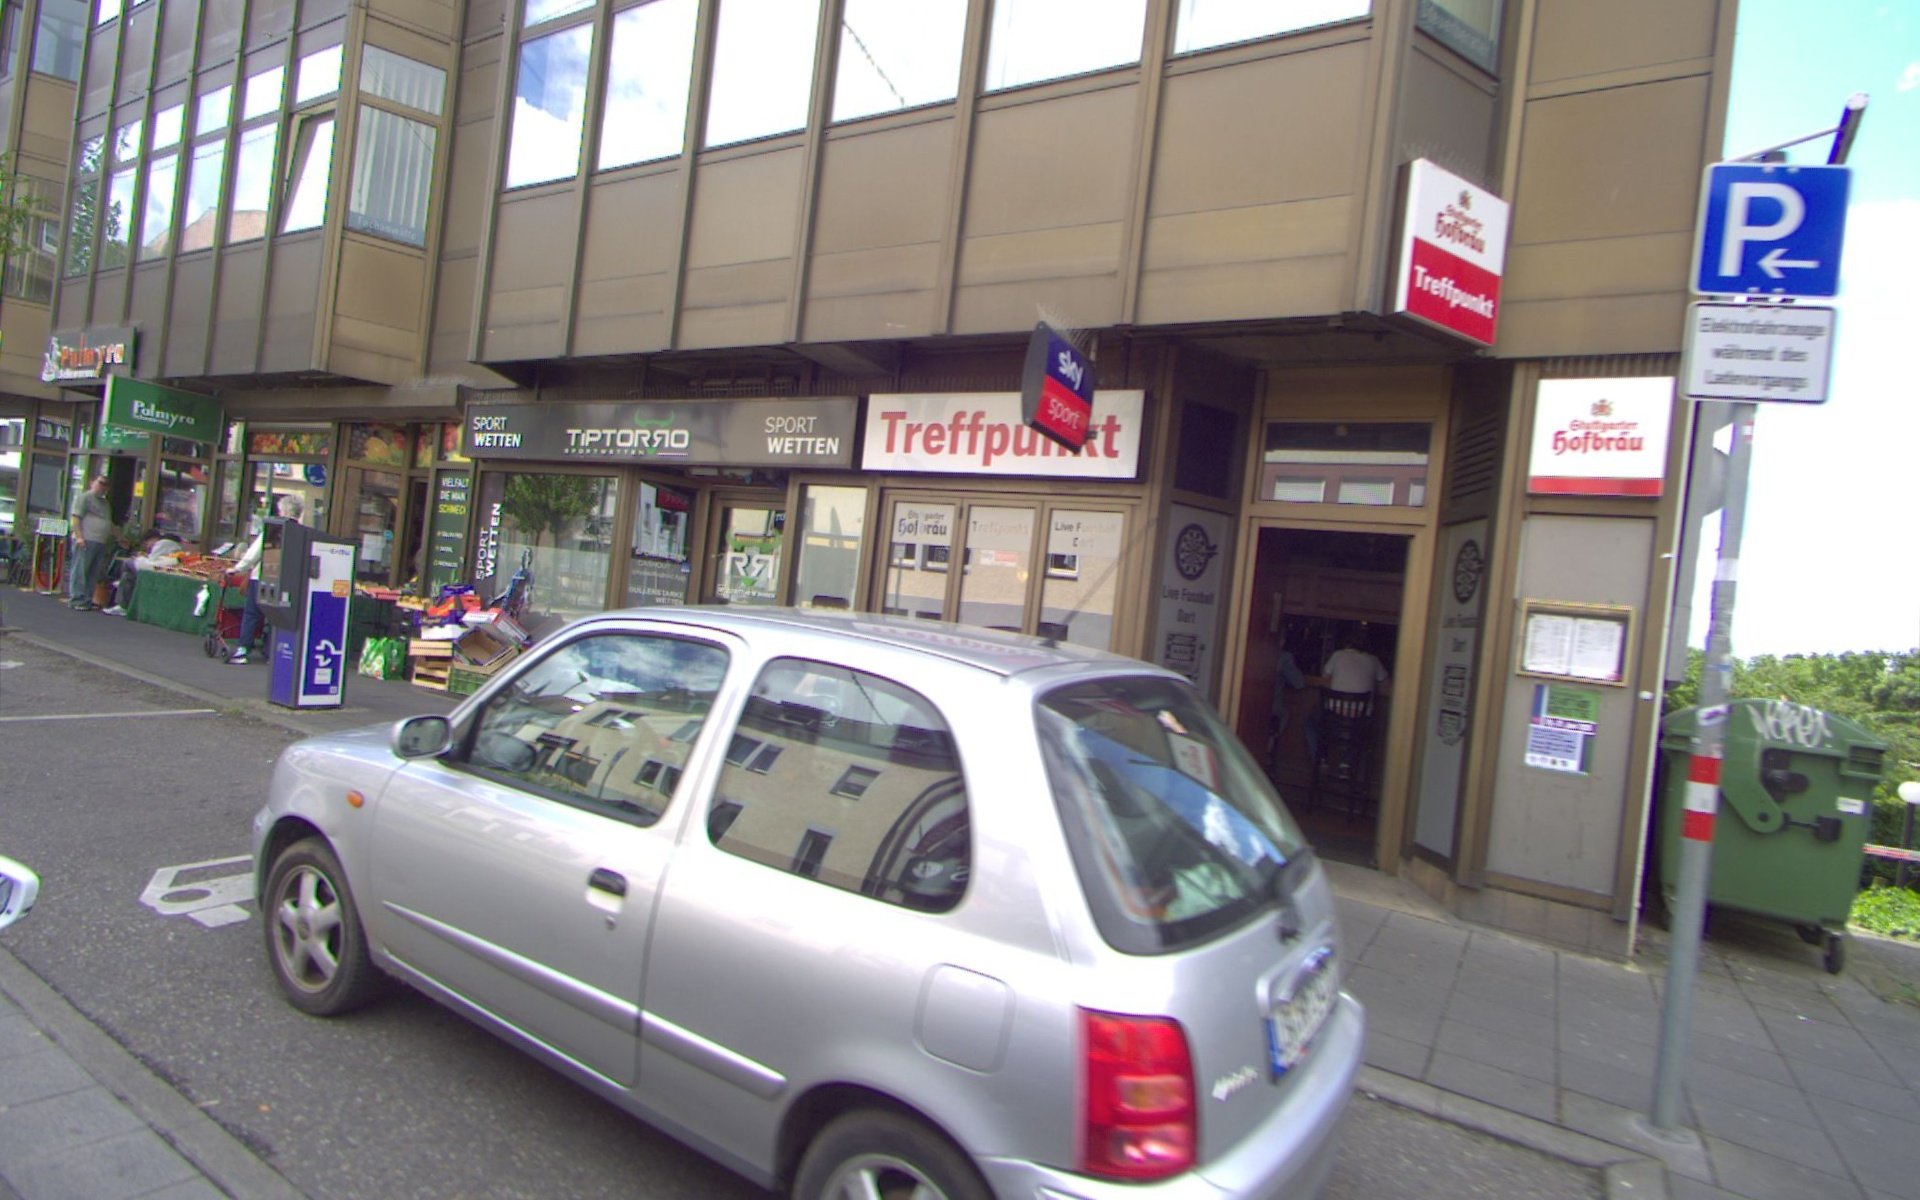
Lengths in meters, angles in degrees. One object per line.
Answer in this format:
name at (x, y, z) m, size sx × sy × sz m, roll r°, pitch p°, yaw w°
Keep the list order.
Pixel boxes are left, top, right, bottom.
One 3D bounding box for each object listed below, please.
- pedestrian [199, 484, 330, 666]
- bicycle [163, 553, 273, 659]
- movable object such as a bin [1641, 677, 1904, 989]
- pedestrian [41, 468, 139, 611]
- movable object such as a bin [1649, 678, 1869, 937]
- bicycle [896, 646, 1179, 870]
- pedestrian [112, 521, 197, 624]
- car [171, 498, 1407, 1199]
pedestrian at (-7.038, -0.225, 10.204) m, size 0.635 × 1.726 × 0.659 m, roll 7°, pitch -1°, yaw 8°
bicycle at (-7.602, 0.074, 10.326) m, size 0.548 × 0.990 × 0.604 m, roll 7°, pitch -2°, yaw 8°
movable object such as a bin at (4.855, 1.326, 6.135) m, size 1.015 × 1.545 × 1.143 m, roll 6°, pitch -2°, yaw 34°
pedestrian at (-11.796, -0.807, 13.647) m, size 0.700 × 1.837 × 0.738 m, roll 6°, pitch 1°, yaw 32°
movable object such as a bin at (5.661, 1.416, 7.232) m, size 1.015 × 1.545 × 1.143 m, roll 6°, pitch -2°, yaw 34°
bicycle at (0.465, 0.913, 6.151) m, size 1.452 × 1.059 × 0.721 m, roll 6°, pitch -2°, yaw 32°
pedestrian at (-10.759, -0.364, 13.444) m, size 0.603 × 1.268 × 0.622 m, roll 6°, pitch -2°, yaw 34°
car at (-0.782, 0.601, 3.232) m, size 3.733 × 1.515 × 1.609 m, roll 7°, pitch 3°, yaw 33°
